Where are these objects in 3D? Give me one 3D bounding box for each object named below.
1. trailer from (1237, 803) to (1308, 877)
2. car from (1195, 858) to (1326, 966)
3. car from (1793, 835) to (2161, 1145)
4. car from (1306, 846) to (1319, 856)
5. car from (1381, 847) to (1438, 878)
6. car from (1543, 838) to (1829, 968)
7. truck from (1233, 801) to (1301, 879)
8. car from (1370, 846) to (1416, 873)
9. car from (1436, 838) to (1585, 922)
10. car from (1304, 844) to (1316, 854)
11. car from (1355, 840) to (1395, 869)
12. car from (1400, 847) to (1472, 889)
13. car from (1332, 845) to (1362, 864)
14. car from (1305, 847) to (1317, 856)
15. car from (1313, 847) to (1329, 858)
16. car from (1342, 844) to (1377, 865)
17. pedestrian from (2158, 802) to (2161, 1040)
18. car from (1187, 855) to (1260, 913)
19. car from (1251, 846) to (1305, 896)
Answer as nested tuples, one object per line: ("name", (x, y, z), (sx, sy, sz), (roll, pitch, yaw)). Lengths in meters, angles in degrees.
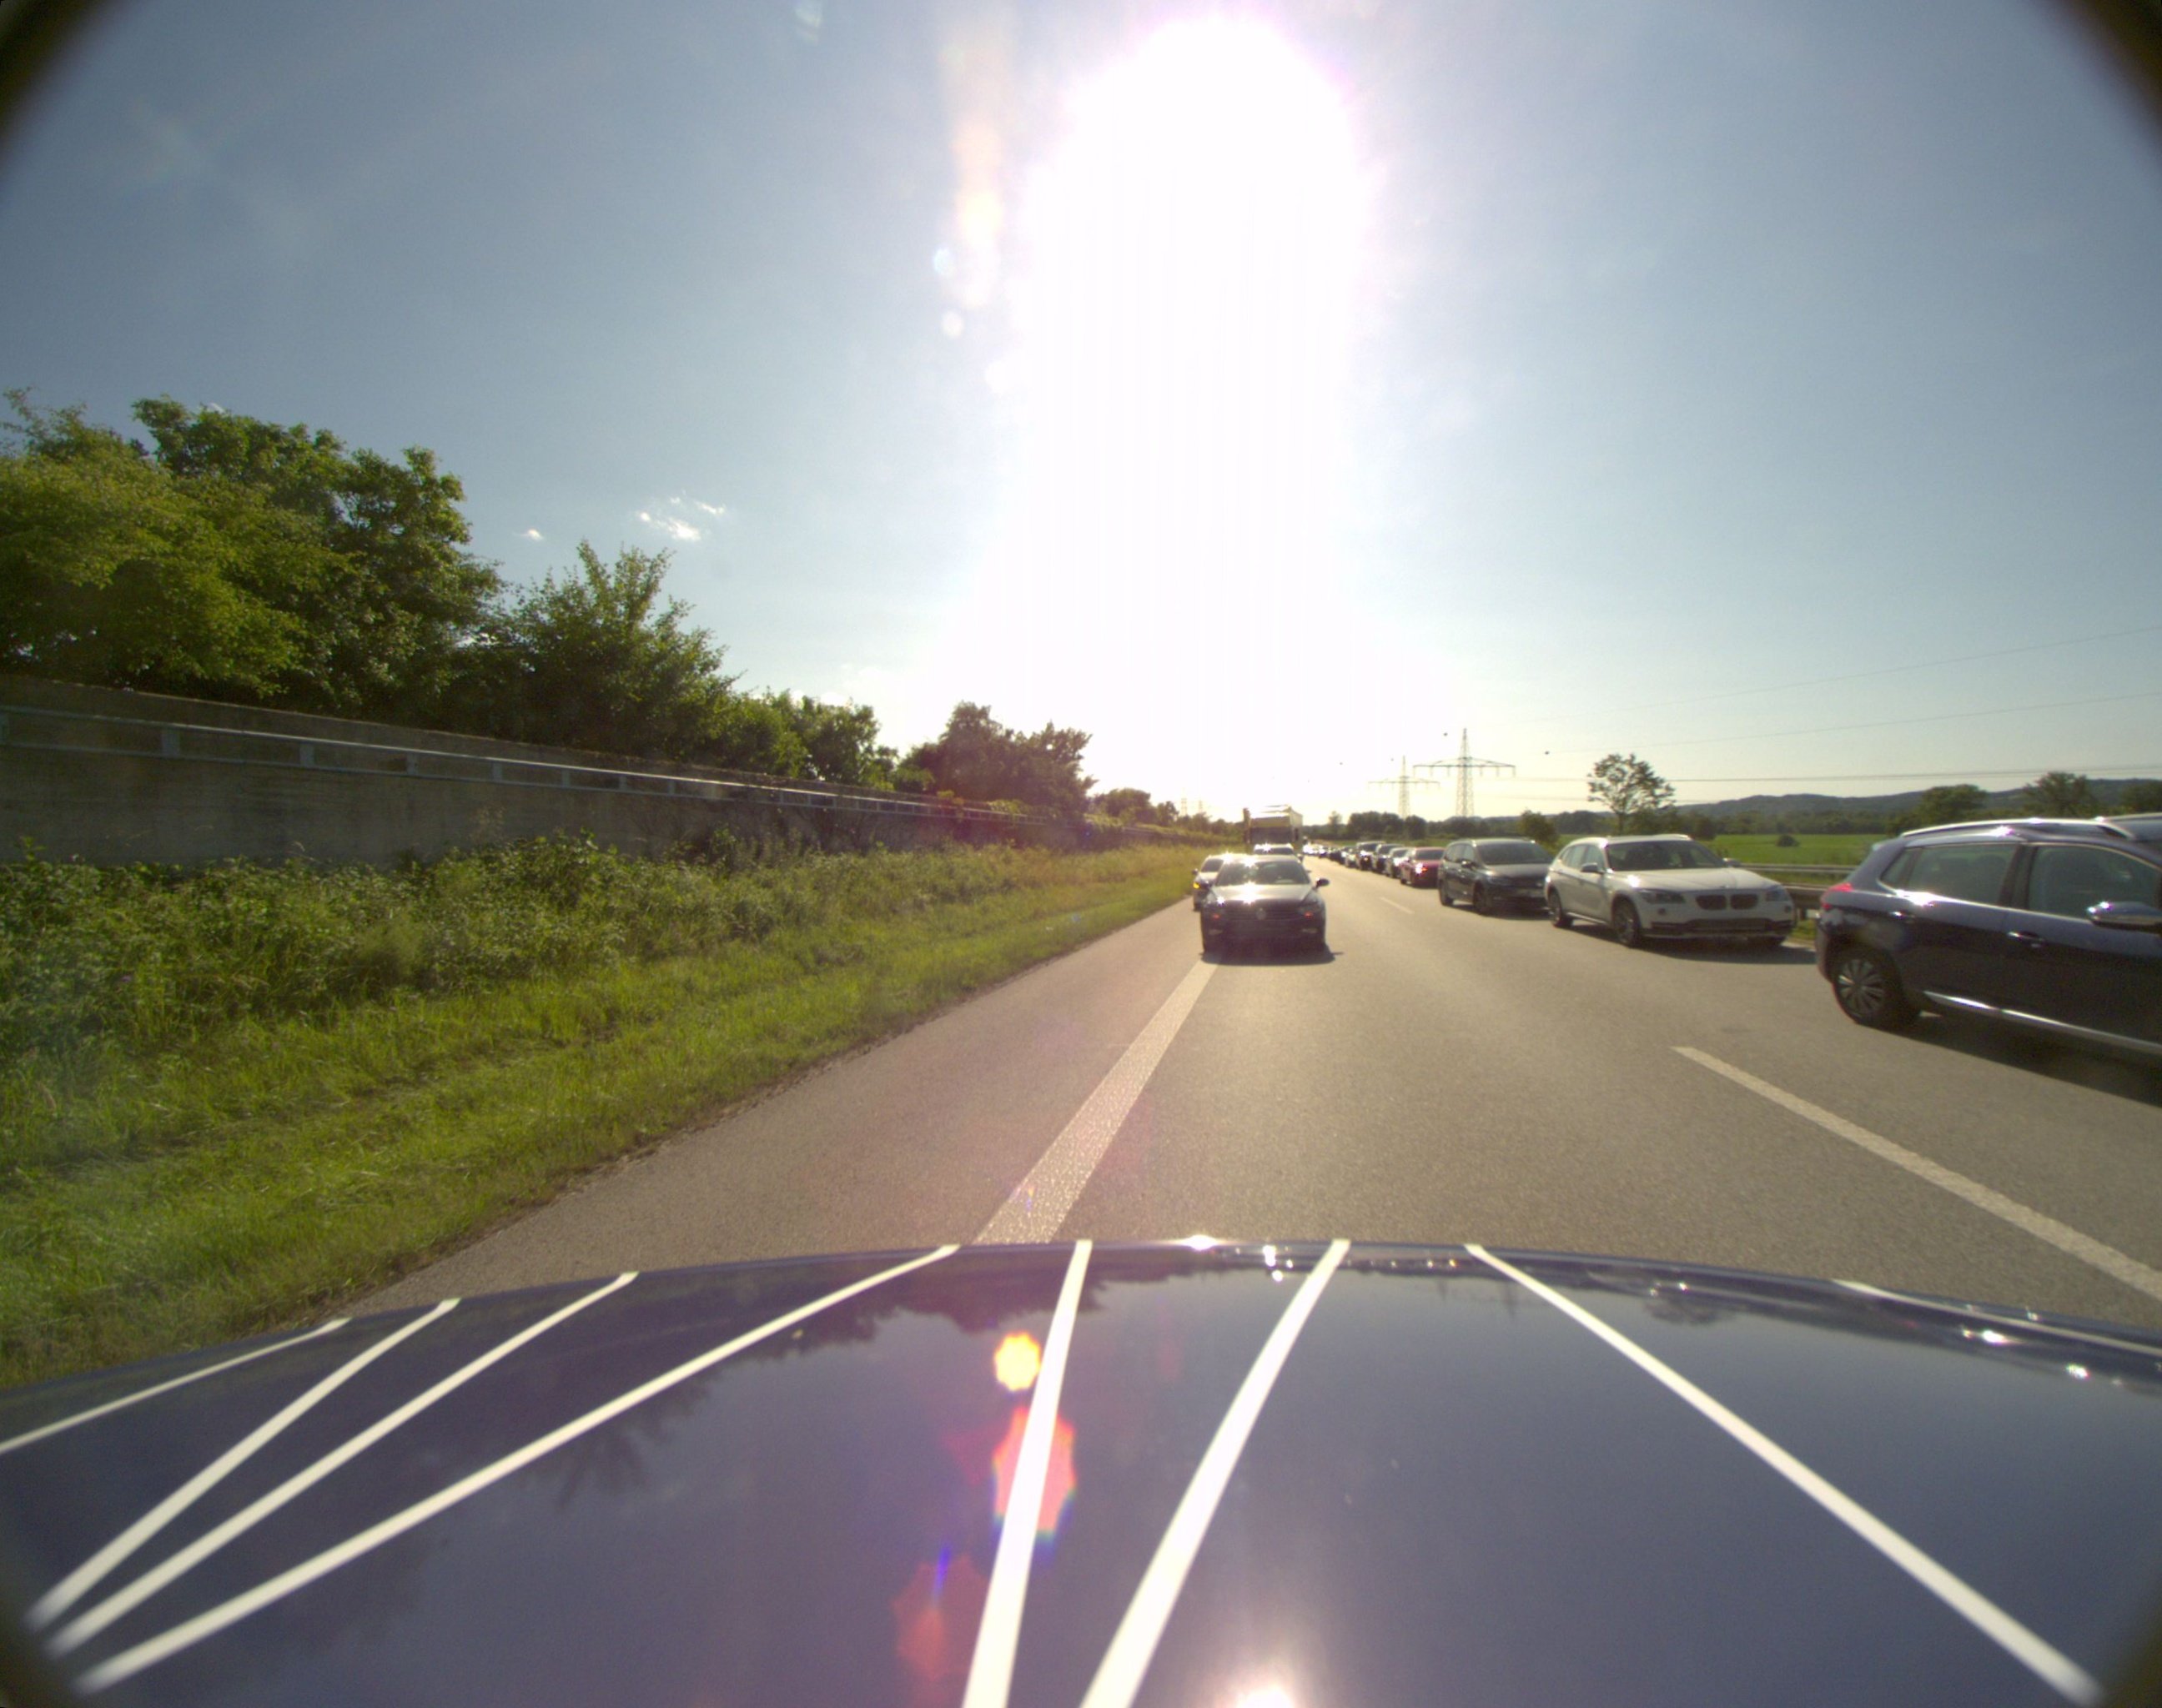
("trailer", (12.903, -0.939, 50.100), (3.383, 4.089, 13.969), (-2, 1, 18))
("car", (3.039, 0.827, 12.641), (1.715, 1.405, 4.330), (-2, 0, 15))
("car", (6.440, 0.683, 4.279), (1.690, 1.526, 3.952), (-3, 0, 11))
("car", (37.436, -0.513, 122.998), (1.817, 1.450, 4.122), (-3, 0, 16))
("car", (15.728, 0.371, 36.573), (1.893, 1.390, 4.004), (-1, 1, 14))
("car", (8.610, 0.587, 11.338), (1.830, 1.564, 4.168), (-1, 0, 15))
("truck", (10.972, -0.805, 44.297), (3.329, 4.089, 6.977), (-2, 1, 16))
("car", (17.370, 0.271, 42.445), (1.892, 1.447, 4.004), (-1, 0, 15))
("car", (9.393, 0.502, 16.991), (1.818, 1.606, 4.121), (-2, 0, 14))
("car", (41.447, -0.960, 137.449), (1.811, 1.783, 3.777), (-1, 1, 14))
("car", (18.952, 0.035, 49.137), (1.900, 1.777, 4.204), (-1, 0, 14))
("car", (13.095, 0.470, 28.257), (1.817, 1.450, 4.122), (-1, 1, 16))
("car", (22.778, 0.010, 65.175), (1.996, 1.522, 4.004), (-1, 0, 14))
("car", (38.873, -0.395, 128.466), (1.817, 1.450, 4.122), (-1, 1, 16))
("car", (32.586, -0.212, 103.188), (1.818, 1.450, 4.122), (-3, 0, 15))
("car", (20.553, 0.024, 56.140), (1.996, 1.522, 4.004), (-1, 1, 14))
("pedestrian", (8.135, 0.492, 5.097), (0.671, 1.740, 0.815), (-1, 1, 15))
("car", (4.215, 0.796, 21.964), (1.715, 1.417, 4.330), (-2, 0, 15))
("car", (7.231, 0.567, 27.859), (1.715, 1.614, 4.330), (-2, 0, 15))
